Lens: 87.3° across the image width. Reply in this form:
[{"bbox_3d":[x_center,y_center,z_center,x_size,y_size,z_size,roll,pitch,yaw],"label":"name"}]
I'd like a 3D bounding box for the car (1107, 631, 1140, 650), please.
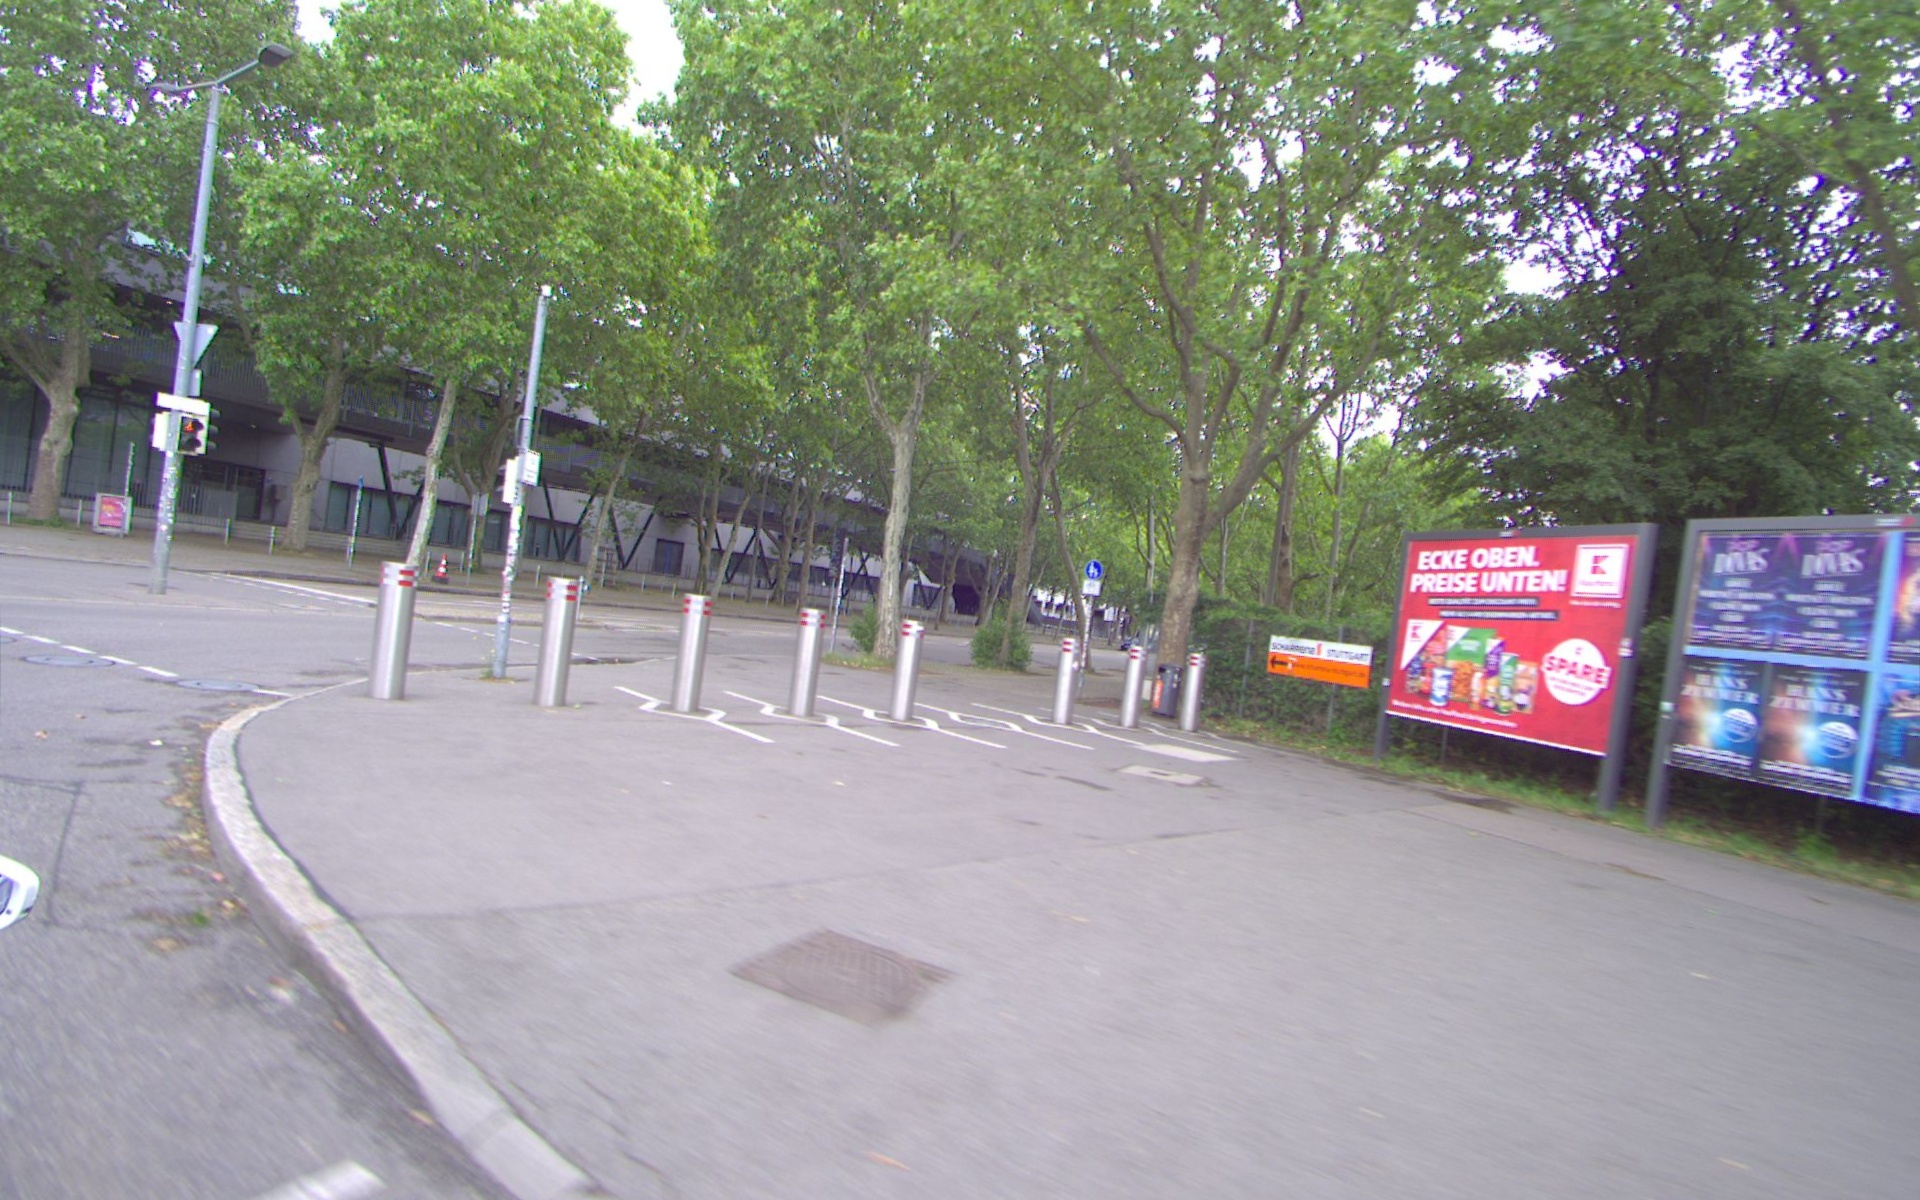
[{"bbox_3d":[15.484,3.851,95.174,1.673,1.435,3.756,5,-3,31],"label":"car"}]
